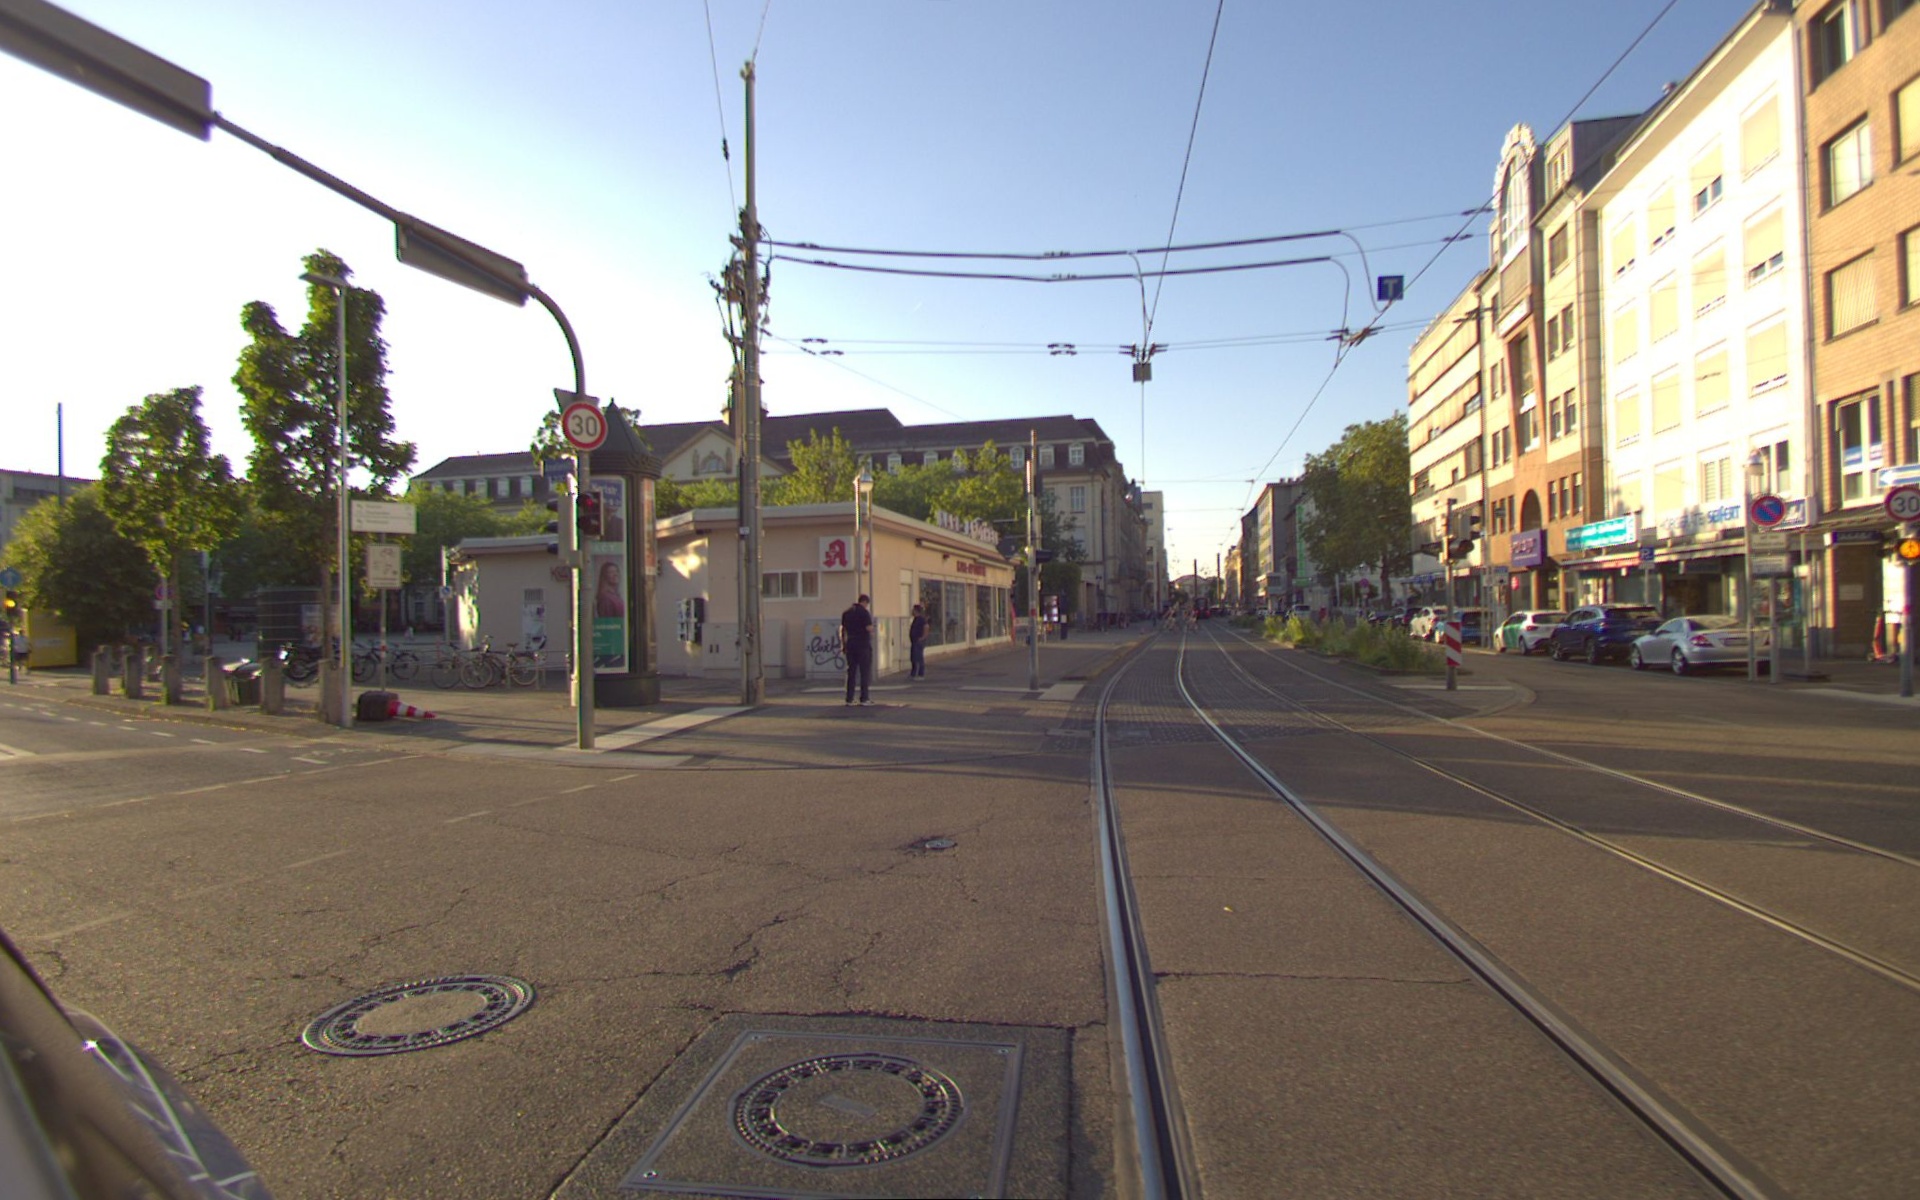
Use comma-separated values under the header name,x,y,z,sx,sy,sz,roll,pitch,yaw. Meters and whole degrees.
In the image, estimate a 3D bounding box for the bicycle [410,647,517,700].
name,x,y,z,sx,sy,sz,roll,pitch,yaw
bicycle,-11.708,1.712,23.933,0.776,1.096,2.199,-2,-1,31

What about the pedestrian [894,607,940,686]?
name,x,y,z,sx,sy,sz,roll,pitch,yaw
pedestrian,-0.943,1.016,22.374,0.895,1.689,0.779,-2,0,3

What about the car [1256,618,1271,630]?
name,x,y,z,sx,sy,sz,roll,pitch,yaw
car,45.998,3.673,153.591,2.031,1.750,4.585,-3,-2,16

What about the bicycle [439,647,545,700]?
name,x,y,z,sx,sy,sz,roll,pitch,yaw
bicycle,-10.754,1.670,23.342,0.776,1.096,2.174,-2,-1,31

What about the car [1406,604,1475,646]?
name,x,y,z,sx,sy,sz,roll,pitch,yaw
car,22.111,1.129,46.765,2.031,1.750,4.585,-3,-2,16

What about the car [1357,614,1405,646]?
name,x,y,z,sx,sy,sz,roll,pitch,yaw
car,25.258,1.786,60.835,2.031,1.750,4.585,-3,-2,16

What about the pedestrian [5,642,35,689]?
name,x,y,z,sx,sy,sz,roll,pitch,yaw
pedestrian,-35.444,2.454,38.160,0.907,1.689,0.768,-2,0,45

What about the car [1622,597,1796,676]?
name,x,y,z,sx,sy,sz,roll,pitch,yaw
car,16.867,0.798,23.070,1.785,1.587,4.276,-3,-2,17

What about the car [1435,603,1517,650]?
name,x,y,z,sx,sy,sz,roll,pitch,yaw
car,21.069,1.062,41.530,2.031,1.750,4.585,-3,-2,16

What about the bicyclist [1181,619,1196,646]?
name,x,y,z,sx,sy,sz,roll,pitch,yaw
bicyclist,14.978,2.152,66.337,0.644,1.724,0.622,-2,0,-34

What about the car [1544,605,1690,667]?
name,x,y,z,sx,sy,sz,roll,pitch,yaw
car,17.764,0.949,27.638,2.031,1.487,4.584,-3,-2,16

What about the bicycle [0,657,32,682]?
name,x,y,z,sx,sy,sz,roll,pitch,yaw
bicycle,-45.391,3.327,47.716,0.673,1.079,2.367,-2,0,44

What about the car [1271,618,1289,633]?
name,x,y,z,sx,sy,sz,roll,pitch,yaw
car,40.595,3.230,128.447,2.031,1.750,4.585,-3,-2,16

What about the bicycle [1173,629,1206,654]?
name,x,y,z,sx,sy,sz,roll,pitch,yaw
bicycle,15.049,2.709,66.370,2.378,1.497,0.617,-2,0,-34

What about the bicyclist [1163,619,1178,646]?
name,x,y,z,sx,sy,sz,roll,pitch,yaw
bicyclist,14.150,2.163,67.952,0.776,1.733,0.595,-2,0,-34

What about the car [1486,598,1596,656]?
name,x,y,z,sx,sy,sz,roll,pitch,yaw
car,19.367,0.896,33.956,2.031,1.750,4.585,-3,-2,16

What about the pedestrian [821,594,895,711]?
name,x,y,z,sx,sy,sz,roll,pitch,yaw
pedestrian,-1.617,0.824,16.160,0.873,1.798,0.902,-2,0,15

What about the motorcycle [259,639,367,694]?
name,x,y,z,sx,sy,sz,roll,pitch,yaw
motorcycle,-18.250,1.852,28.587,0.779,1.376,2.419,-4,-1,42

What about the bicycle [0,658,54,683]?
name,x,y,z,sx,sy,sz,roll,pitch,yaw
bicycle,-43.061,3.238,46.303,0.673,0.966,2.367,-2,0,44

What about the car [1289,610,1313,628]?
name,x,y,z,sx,sy,sz,roll,pitch,yaw
car,35.163,1.965,104.390,2.031,1.750,4.585,-3,-2,16

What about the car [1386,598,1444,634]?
name,x,y,z,sx,sy,sz,roll,pitch,yaw
car,23.958,0.852,53.428,2.031,1.750,4.585,-3,-2,16

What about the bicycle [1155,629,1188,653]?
name,x,y,z,sx,sy,sz,roll,pitch,yaw
bicycle,14.199,2.734,67.984,2.458,1.497,0.595,-2,0,-34

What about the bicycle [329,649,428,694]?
name,x,y,z,sx,sy,sz,roll,pitch,yaw
bicycle,-15.445,1.882,26.927,0.778,1.096,2.155,-2,-2,37

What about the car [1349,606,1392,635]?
name,x,y,z,sx,sy,sz,roll,pitch,yaw
car,26.873,1.356,66.380,2.031,1.750,4.585,-3,-2,16

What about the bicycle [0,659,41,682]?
name,x,y,z,sx,sy,sz,roll,pitch,yaw
bicycle,-44.058,3.294,46.738,0.673,0.966,2.367,-2,0,44
